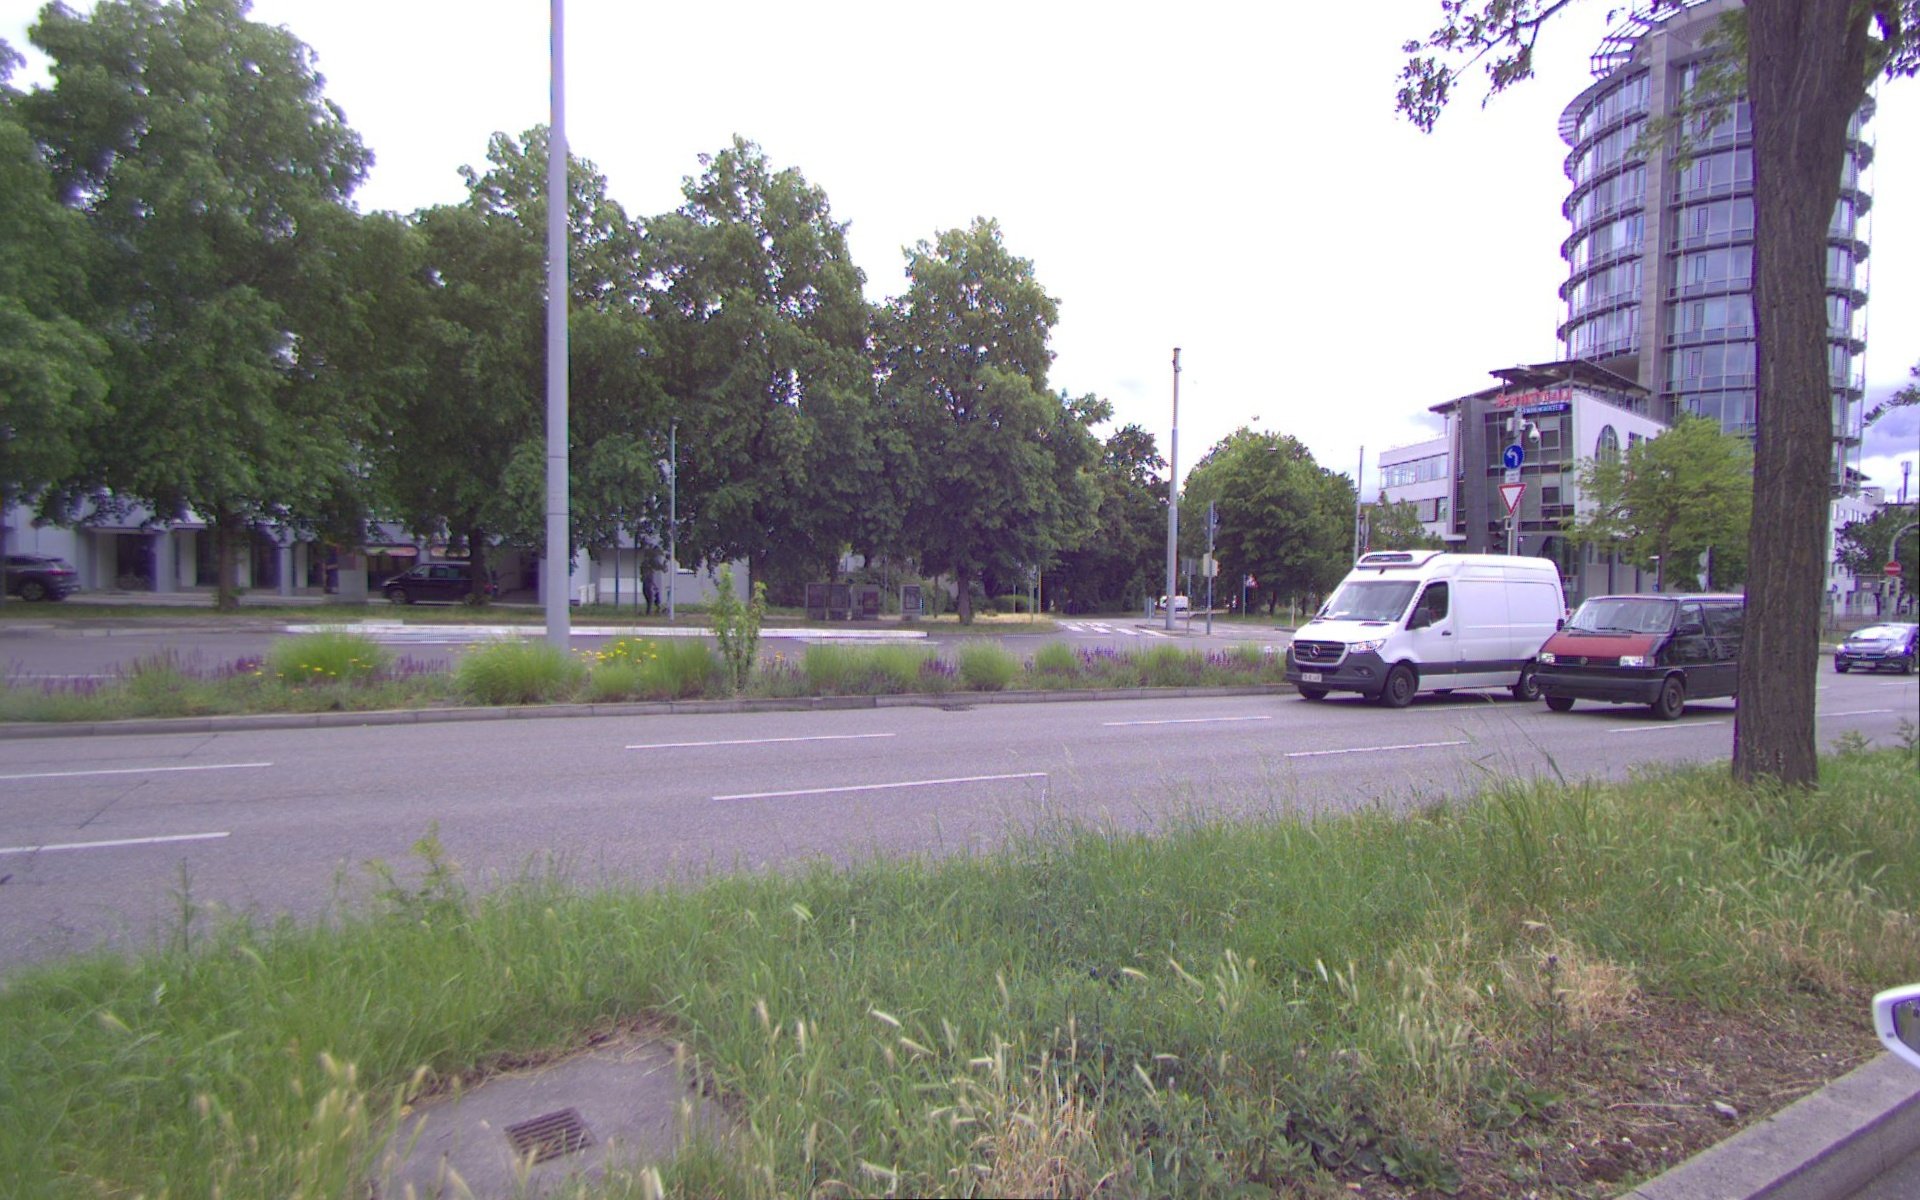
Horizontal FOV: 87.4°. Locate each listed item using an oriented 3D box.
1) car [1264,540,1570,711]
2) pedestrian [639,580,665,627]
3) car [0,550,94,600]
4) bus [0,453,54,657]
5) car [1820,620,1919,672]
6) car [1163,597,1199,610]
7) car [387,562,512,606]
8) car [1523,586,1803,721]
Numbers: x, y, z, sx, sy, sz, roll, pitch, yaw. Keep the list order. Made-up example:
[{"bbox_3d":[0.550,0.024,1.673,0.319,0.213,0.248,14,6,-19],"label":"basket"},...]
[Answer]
[{"bbox_3d":[8.285,0.452,18.015,5.804,2.669,1.985,1,-1,-29],"label":"car"},{"bbox_3d":[-11.461,0.133,37.375,0.847,1.711,0.453,1,1,-30],"label":"pedestrian"},{"bbox_3d":[-31.991,-0.852,33.588,4.190,1.602,1.987,1,1,-25],"label":"car"},{"bbox_3d":[-21.166,-0.903,15.785,9.778,3.502,3.021,1,2,-26],"label":"bus"},{"bbox_3d":[27.497,1.338,29.902,3.972,1.438,1.699,1,0,-31],"label":"car"},{"bbox_3d":[38.317,0.551,174.255,5.881,2.040,1.995,1,1,-13],"label":"car"},{"bbox_3d":[-23.401,-0.731,46.242,4.736,1.857,1.994,1,1,-15],"label":"car"},{"bbox_3d":[11.600,0.821,16.485,4.915,1.943,1.926,1,-1,-30],"label":"car"}]
